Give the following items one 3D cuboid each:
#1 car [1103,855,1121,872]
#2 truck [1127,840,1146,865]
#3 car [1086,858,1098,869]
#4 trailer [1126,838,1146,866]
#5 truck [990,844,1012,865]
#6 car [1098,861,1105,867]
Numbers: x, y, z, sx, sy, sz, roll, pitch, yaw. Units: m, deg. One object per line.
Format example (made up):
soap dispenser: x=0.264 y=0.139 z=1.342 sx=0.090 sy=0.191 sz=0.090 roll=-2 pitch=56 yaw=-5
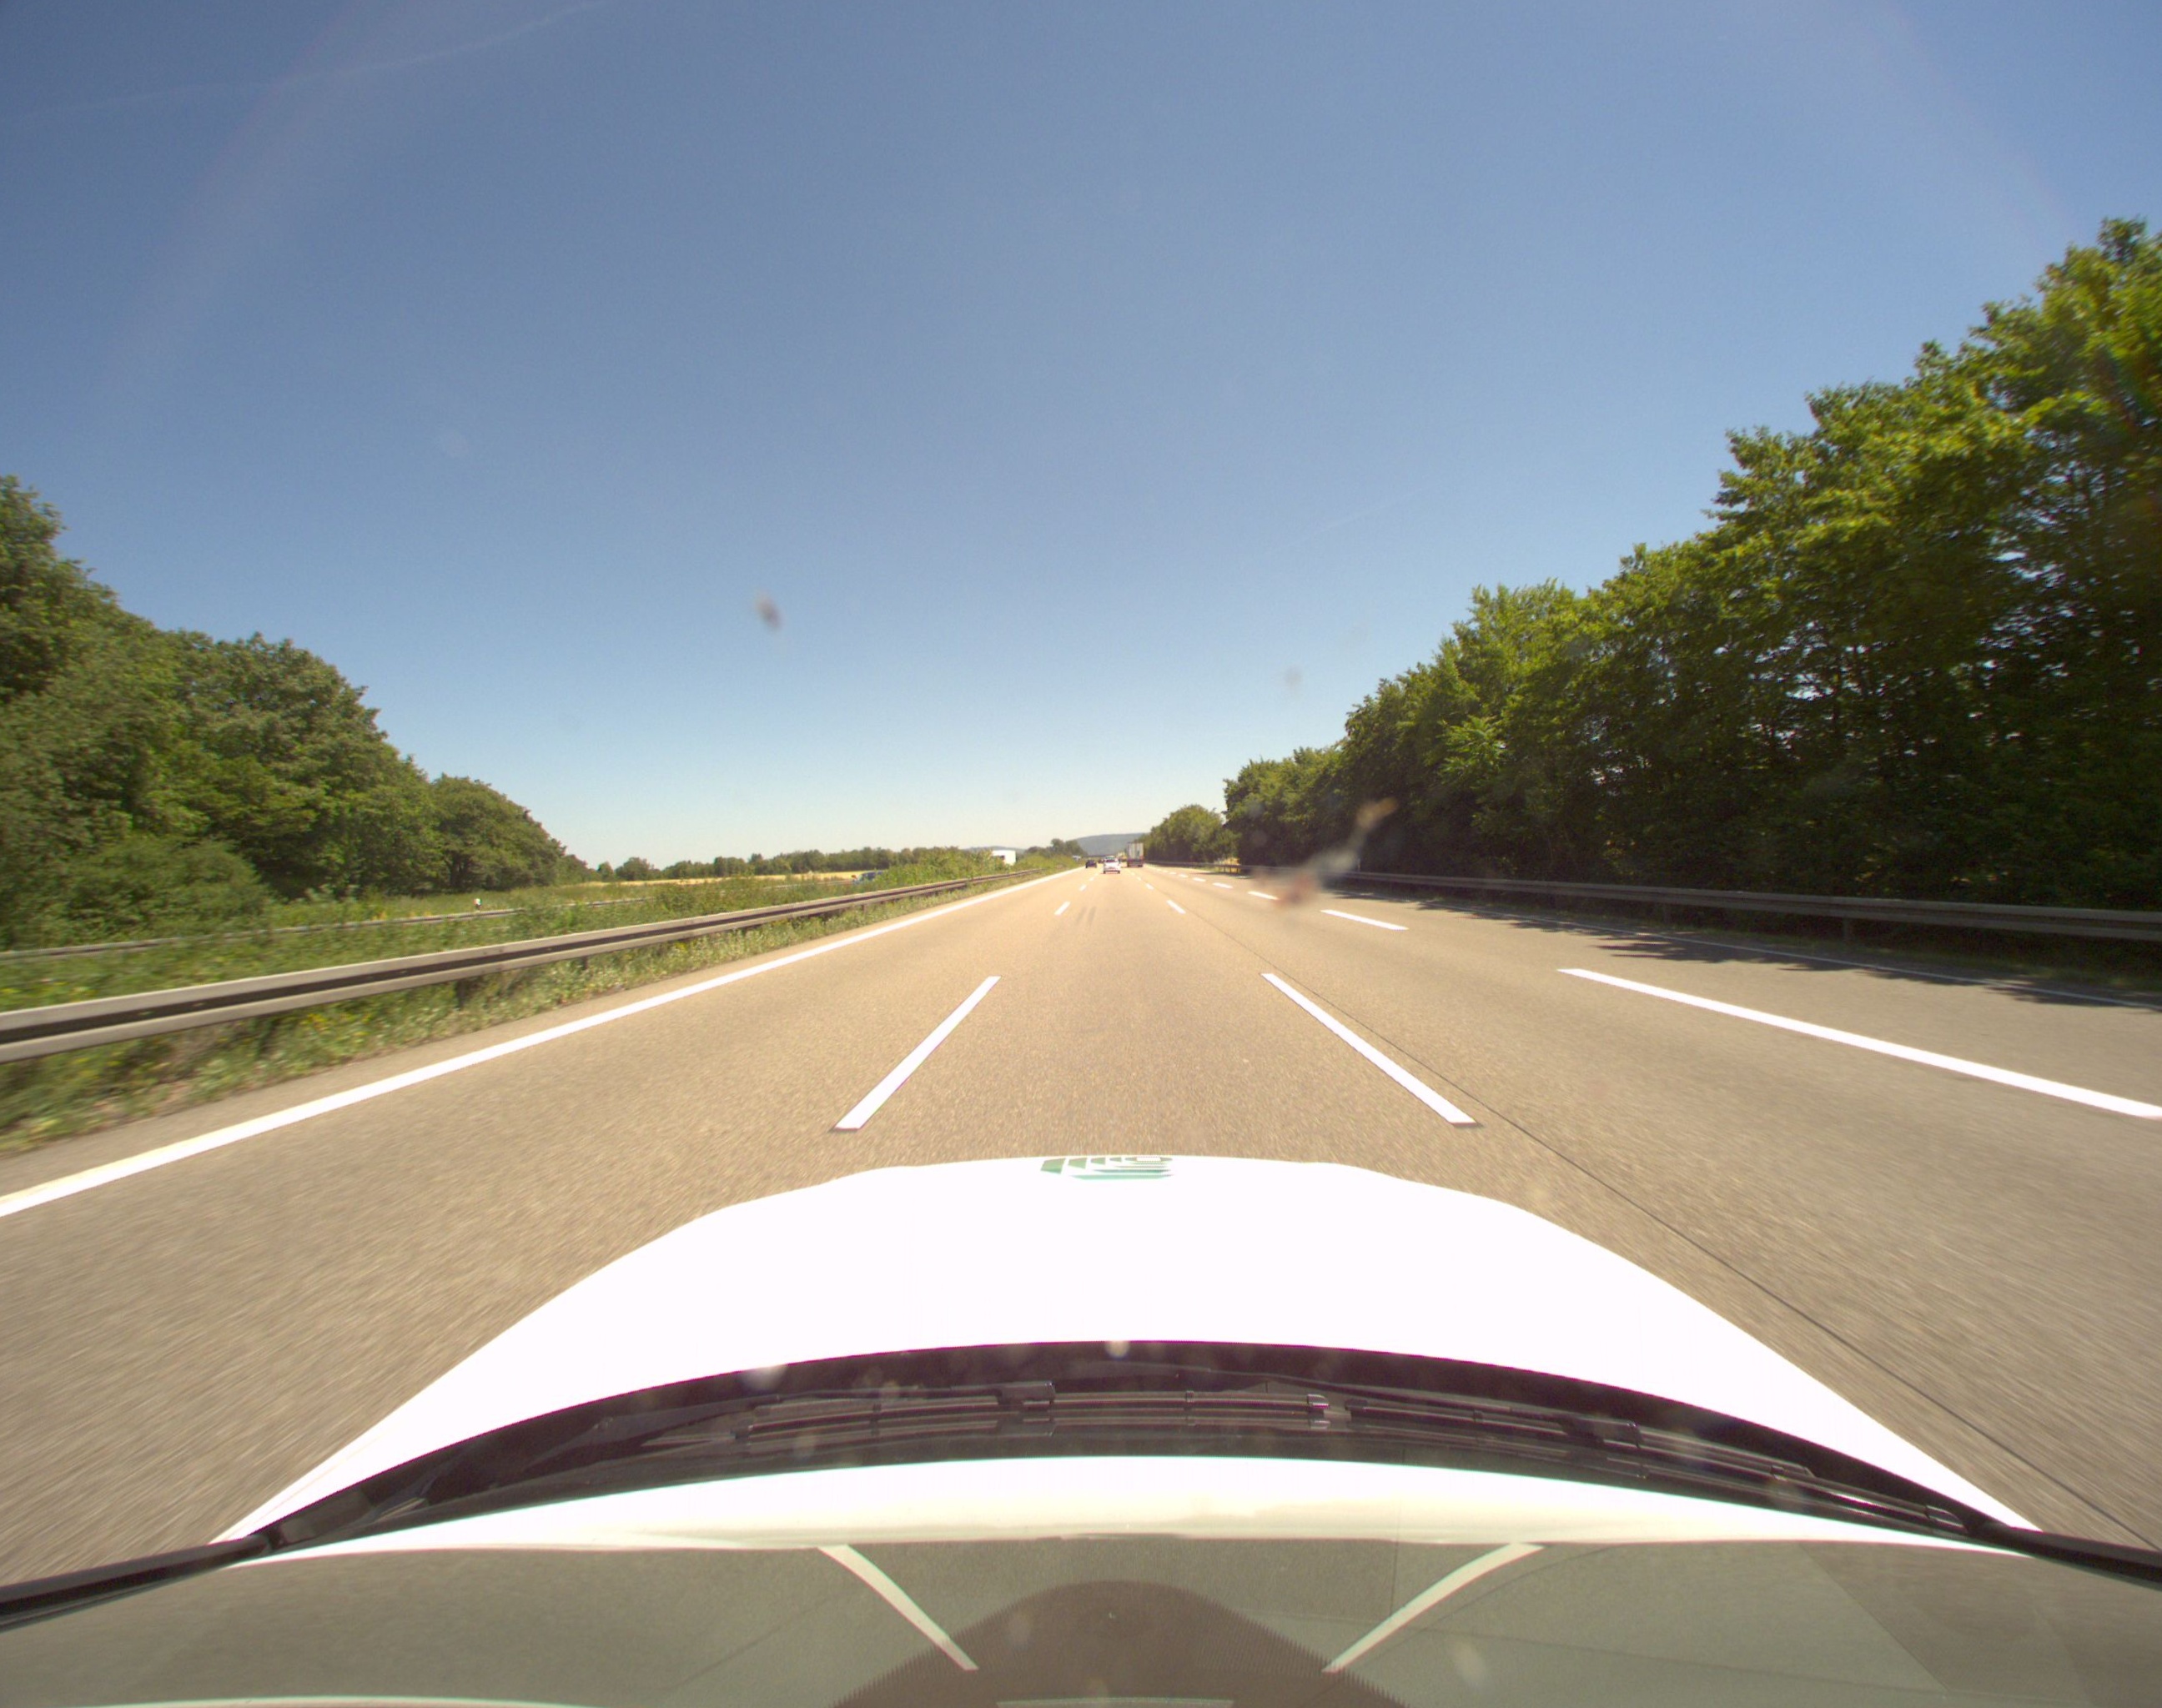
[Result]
car: x=3.114 y=0.948 z=82.499 sx=1.726 sy=1.684 sz=4.001 roll=-2 pitch=0 yaw=1
truck: x=9.843 y=-0.202 z=143.541 sx=3.203 sy=4.345 sz=6.598 roll=0 pitch=-1 yaw=4
car: x=1.786 y=1.545 z=132.728 sx=1.986 sy=1.712 sz=4.001 roll=0 pitch=0 yaw=1
trailer: x=9.258 y=-0.251 z=136.097 sx=3.203 sy=4.345 sz=13.645 roll=0 pitch=0 yaw=4
truck: x=-14.441 y=0.043 z=148.022 sx=3.168 sy=3.699 sz=6.038 roll=0 pitch=-1 yaw=2
car: x=5.984 y=2.914 z=239.445 sx=1.788 sy=1.551 sz=4.002 roll=-1 pitch=-1 yaw=2
